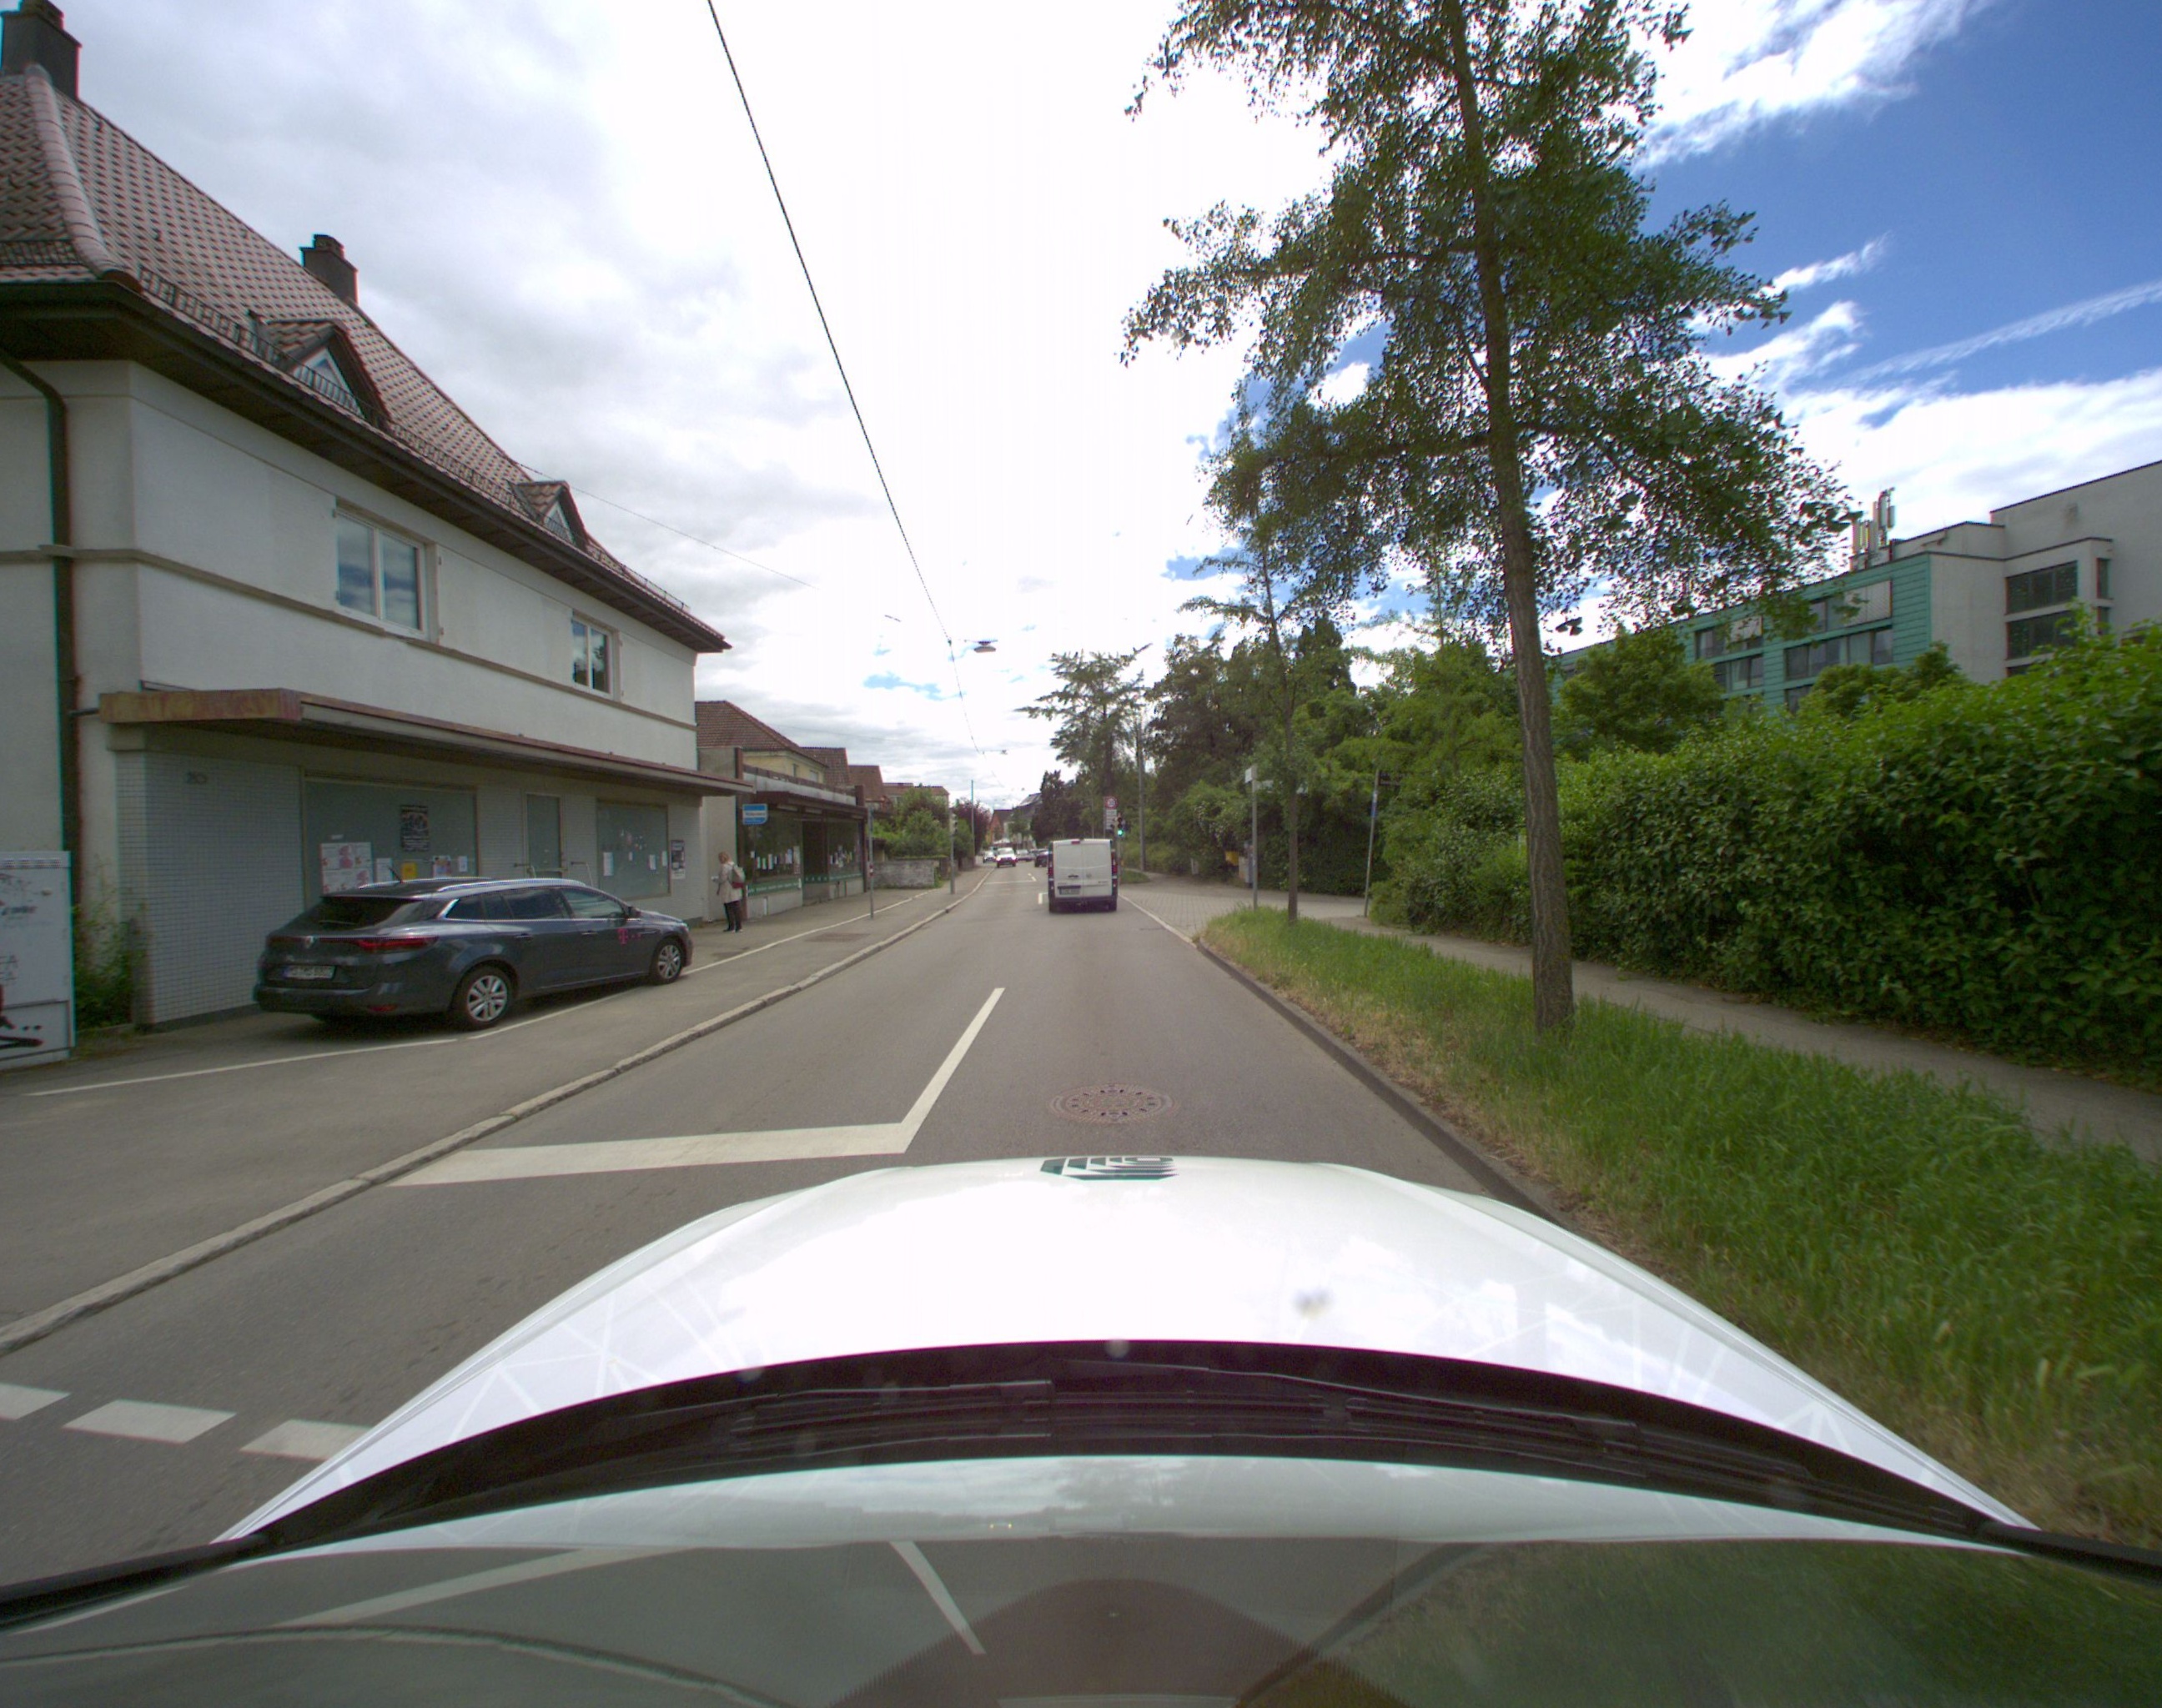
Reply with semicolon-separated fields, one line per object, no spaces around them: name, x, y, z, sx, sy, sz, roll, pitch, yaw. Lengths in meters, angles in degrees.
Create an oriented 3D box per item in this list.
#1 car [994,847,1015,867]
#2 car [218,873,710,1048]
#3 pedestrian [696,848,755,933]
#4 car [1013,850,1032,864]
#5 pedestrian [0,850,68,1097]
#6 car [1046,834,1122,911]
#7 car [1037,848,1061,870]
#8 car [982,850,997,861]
car;-7.801;0.280;83.383;1.864;1.911;5.107;-4;1;-5
car;-6.540;0.983;9.467;1.768;1.441;4.537;0;0;10
pedestrian;-7.601;0.761;17.436;0.881;1.750;0.962;0;0;-5
car;-7.646;0.362;106.064;1.827;1.728;3.983;-1;0;-12
pedestrian;-7.957;0.833;5.715;0.880;1.718;0.764;0;0;16
car;0.063;0.474;23.302;1.924;1.964;4.400;-1;0;-1
car;-2.816;0.429;72.161;1.891;1.860;4.403;-1;0;0
car;-13.432;0.261;119.680;1.883;1.512;4.099;-3;1;-10
